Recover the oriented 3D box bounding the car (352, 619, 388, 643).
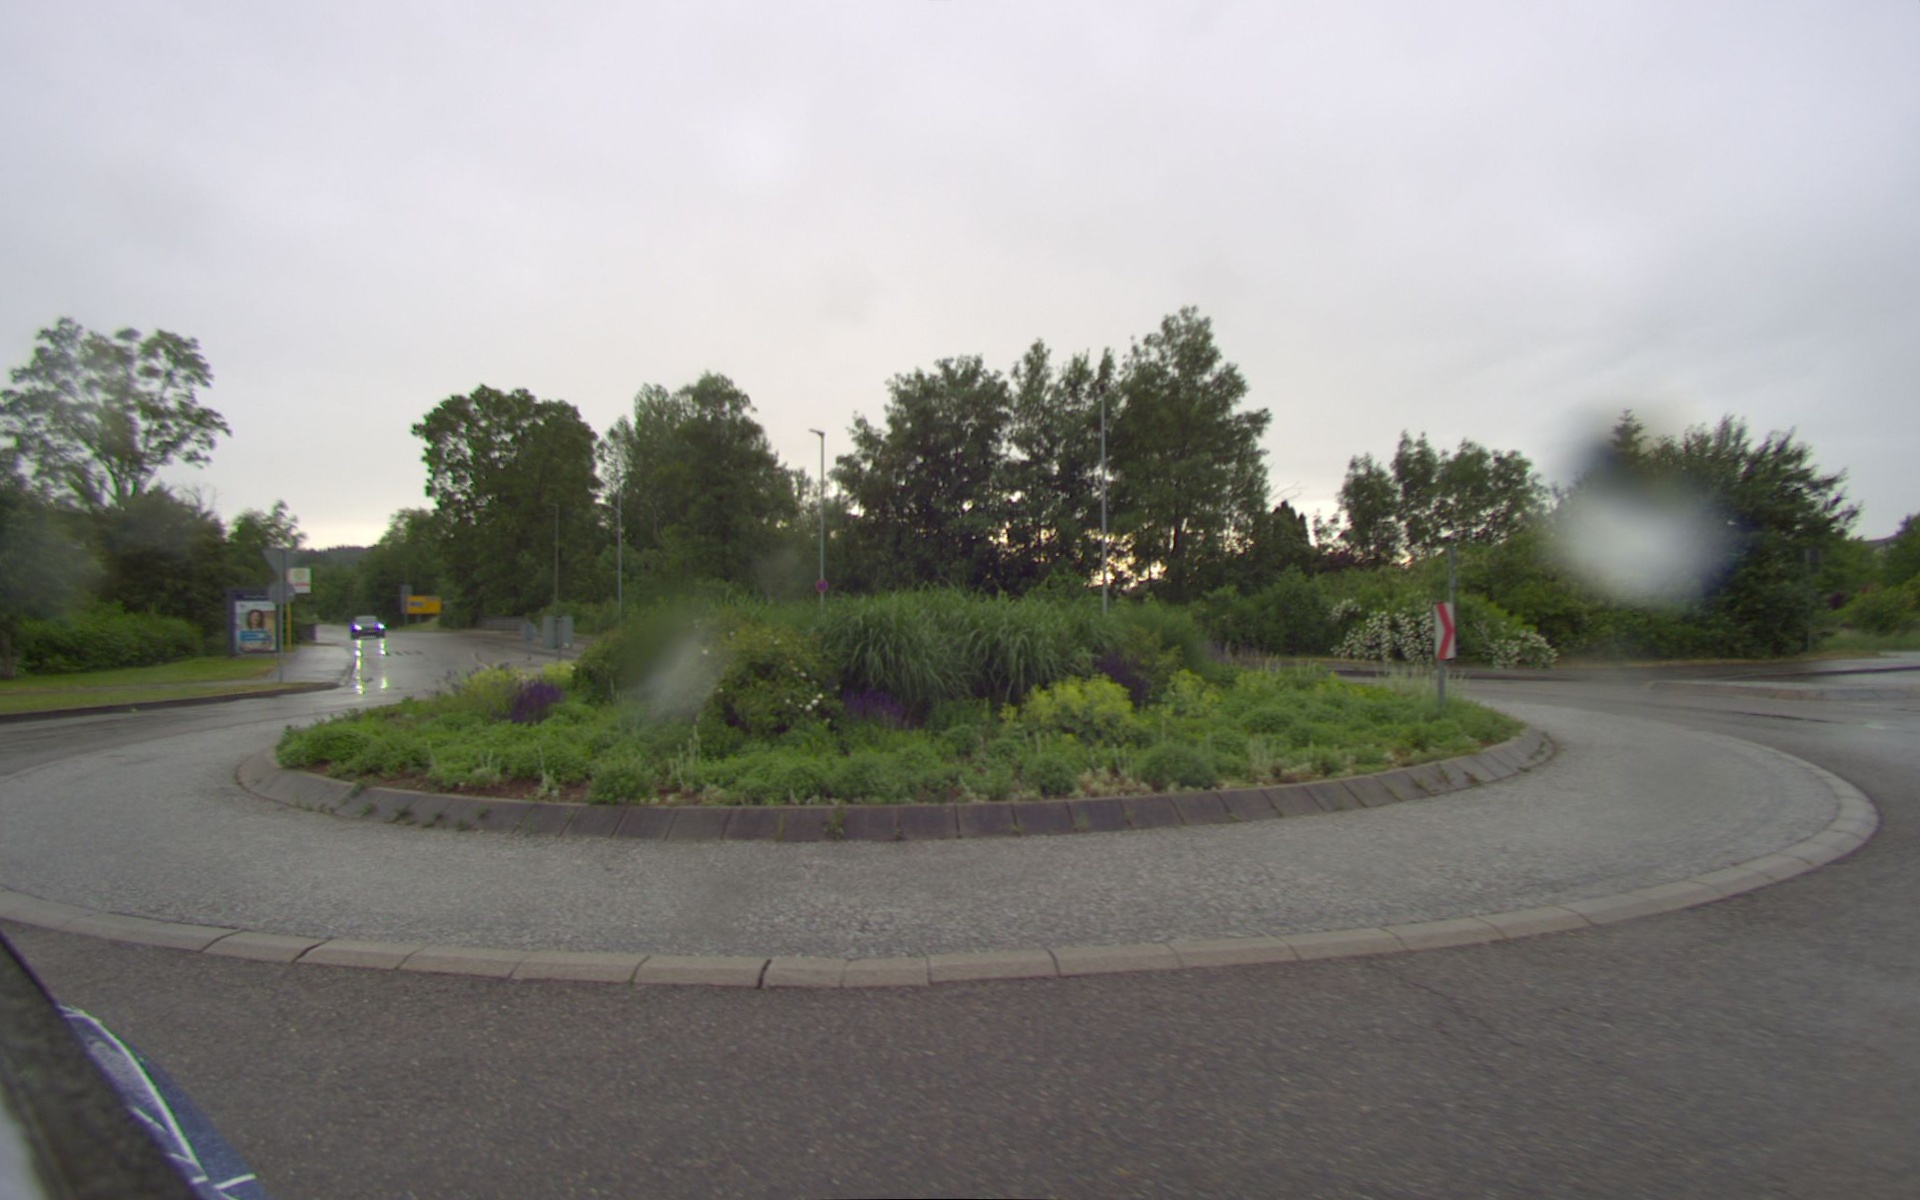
[{"bbox_3d":[-40.387,2.110,69.248,1.826,1.501,4.131,-1,-1,-35],"label":"car"}]
